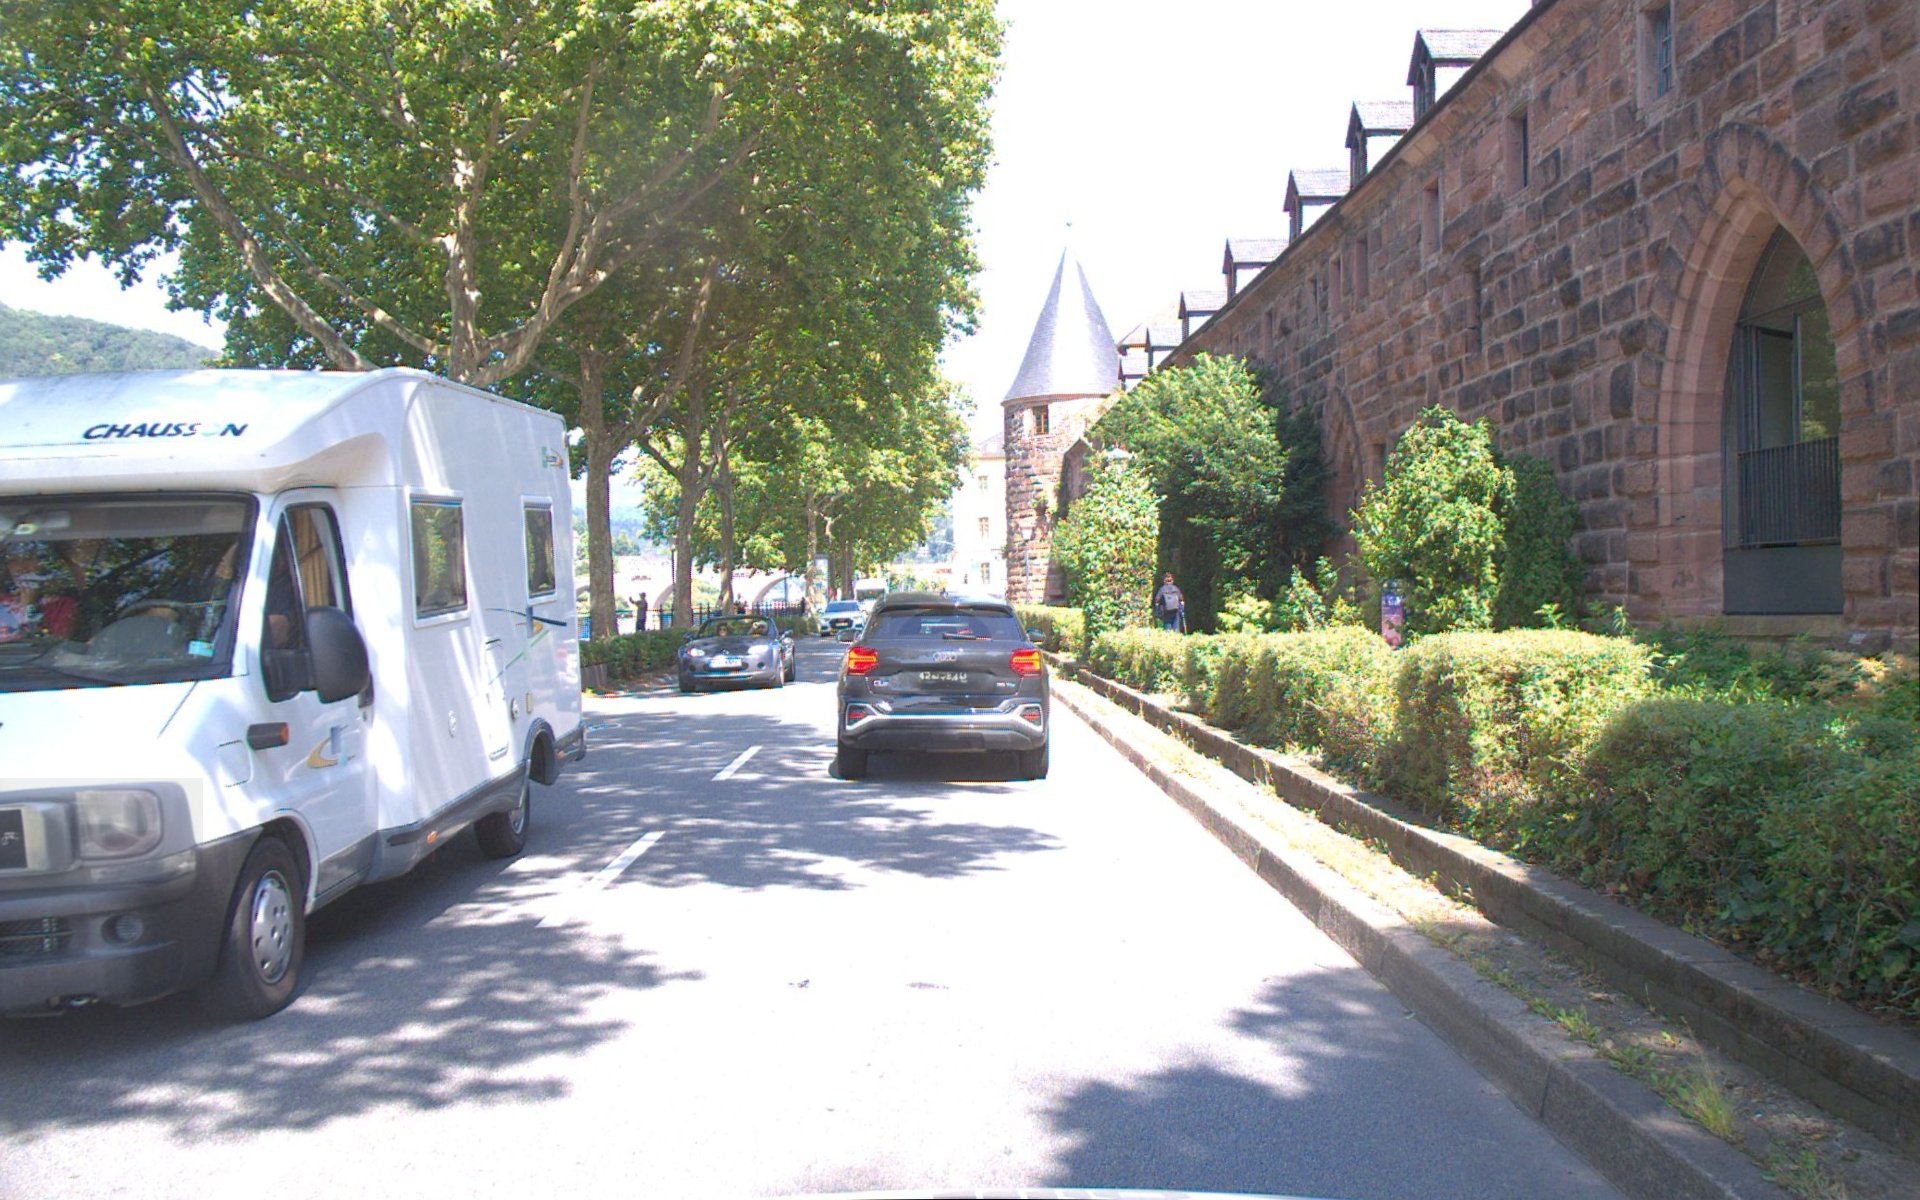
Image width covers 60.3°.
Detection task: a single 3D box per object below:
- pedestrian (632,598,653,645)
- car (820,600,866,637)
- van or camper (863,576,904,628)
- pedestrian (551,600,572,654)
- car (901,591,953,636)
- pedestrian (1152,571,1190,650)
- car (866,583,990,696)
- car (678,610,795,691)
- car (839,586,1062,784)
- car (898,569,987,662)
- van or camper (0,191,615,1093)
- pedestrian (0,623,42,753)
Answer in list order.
[{"bbox_3d":[-11.077,0.744,57.635,0.631,1.647,0.458,1,-1,-3],"label":"pedestrian"},{"bbox_3d":[-4.938,0.765,70.457,1.734,1.482,4.532,-2,0,-2],"label":"car"},{"bbox_3d":[-4.143,0.109,89.998,1.921,2.612,5.839,-3,0,-1],"label":"van or camper"},{"bbox_3d":[-13.016,0.892,53.980,0.572,1.740,0.403,1,-1,-3],"label":"pedestrian"},{"bbox_3d":[-1.218,0.458,59.000,1.734,1.482,4.532,-2,0,-2],"label":"car"},{"bbox_3d":[4.589,0.227,35.968,0.684,1.681,0.705,-2,0,1],"label":"pedestrian"},{"bbox_3d":[-0.446,0.566,26.143,1.764,1.590,3.716,-2,0,1],"label":"car"},{"bbox_3d":[-3.732,0.815,28.134,1.664,1.232,3.483,-2,0,-3],"label":"car"},{"bbox_3d":[-0.139,0.660,14.633,1.713,1.521,3.627,1,0,-2],"label":"car"},{"bbox_3d":[-0.440,0.348,39.714,1.953,2.049,3.999,-2,0,-1],"label":"car"},{"bbox_3d":[-3.484,0.177,8.132,2.275,2.708,6.262,-3,0,-1],"label":"van or camper"},{"bbox_3d":[-10.252,0.916,17.497,0.688,1.331,0.656,1,-1,-1],"label":"pedestrian"}]
